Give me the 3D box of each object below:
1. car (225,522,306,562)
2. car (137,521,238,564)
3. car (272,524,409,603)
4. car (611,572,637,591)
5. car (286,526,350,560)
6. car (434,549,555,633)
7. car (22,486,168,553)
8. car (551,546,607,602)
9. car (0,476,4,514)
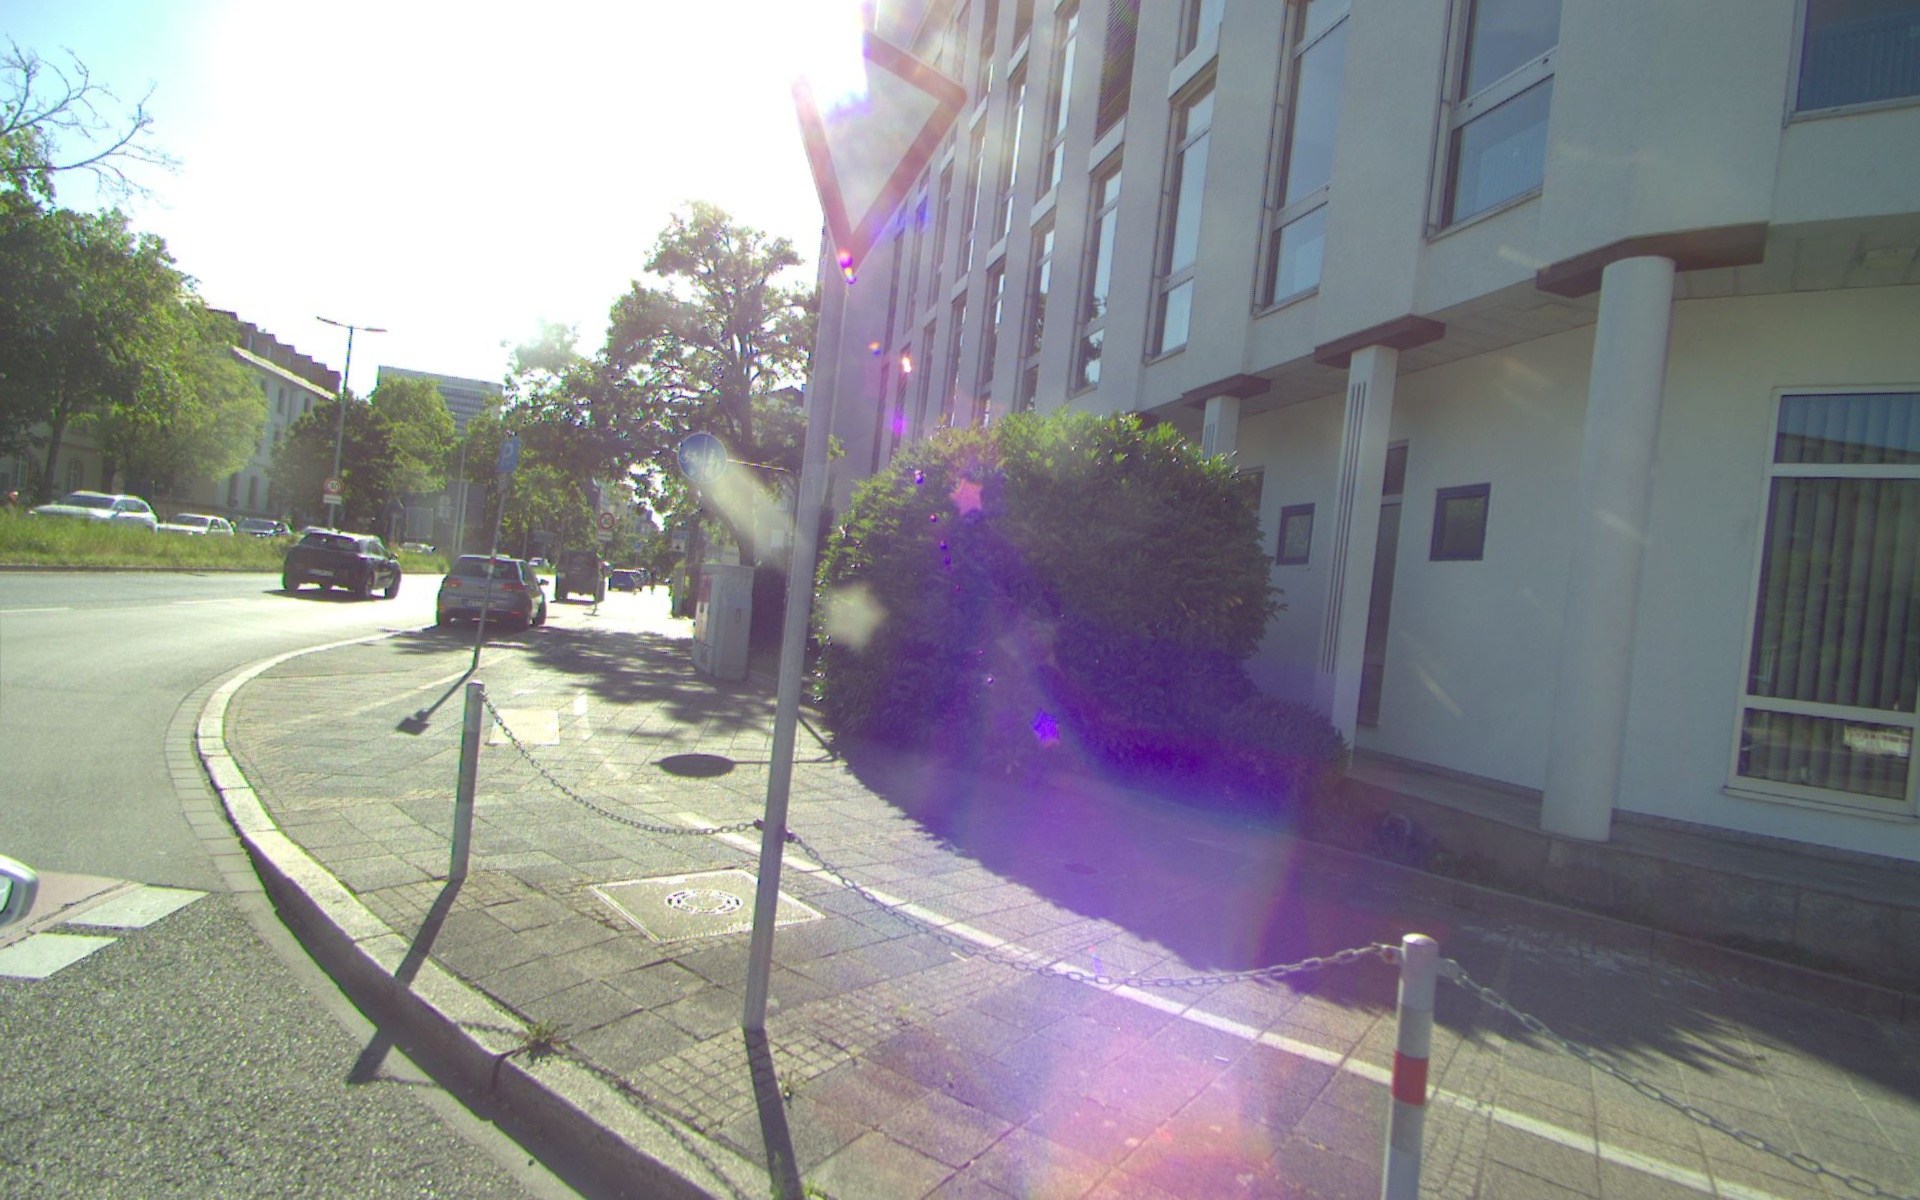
[{"bbox_3d":[-33.209,-2.724,48.236,1.774,1.537,4.429,7,-1,-17],"label":"car"},{"bbox_3d":[-31.439,-2.305,41.077,1.774,1.368,4.243,7,-1,-17],"label":"car"},{"bbox_3d":[-15.387,-0.881,25.227,1.874,1.536,3.984,9,-1,-19],"label":"car"},{"bbox_3d":[-23.734,-1.345,71.141,1.647,1.198,3.885,3,1,-18],"label":"car"},{"bbox_3d":[-35.486,-3.109,55.697,1.774,1.537,4.243,7,-1,-17],"label":"car"},{"bbox_3d":[-9.933,-0.265,21.749,1.618,1.467,4.139,6,1,-16],"label":"car"},{"bbox_3d":[-29.287,-2.652,34.279,1.774,1.764,5.014,7,-1,-17],"label":"car"},{"bbox_3d":[-15.652,-1.036,41.527,1.640,2.039,4.761,5,0,-16],"label":"car"},{"bbox_3d":[-26.803,-2.476,25.025,2.207,2.052,4.999,7,-1,-17],"label":"car"}]
